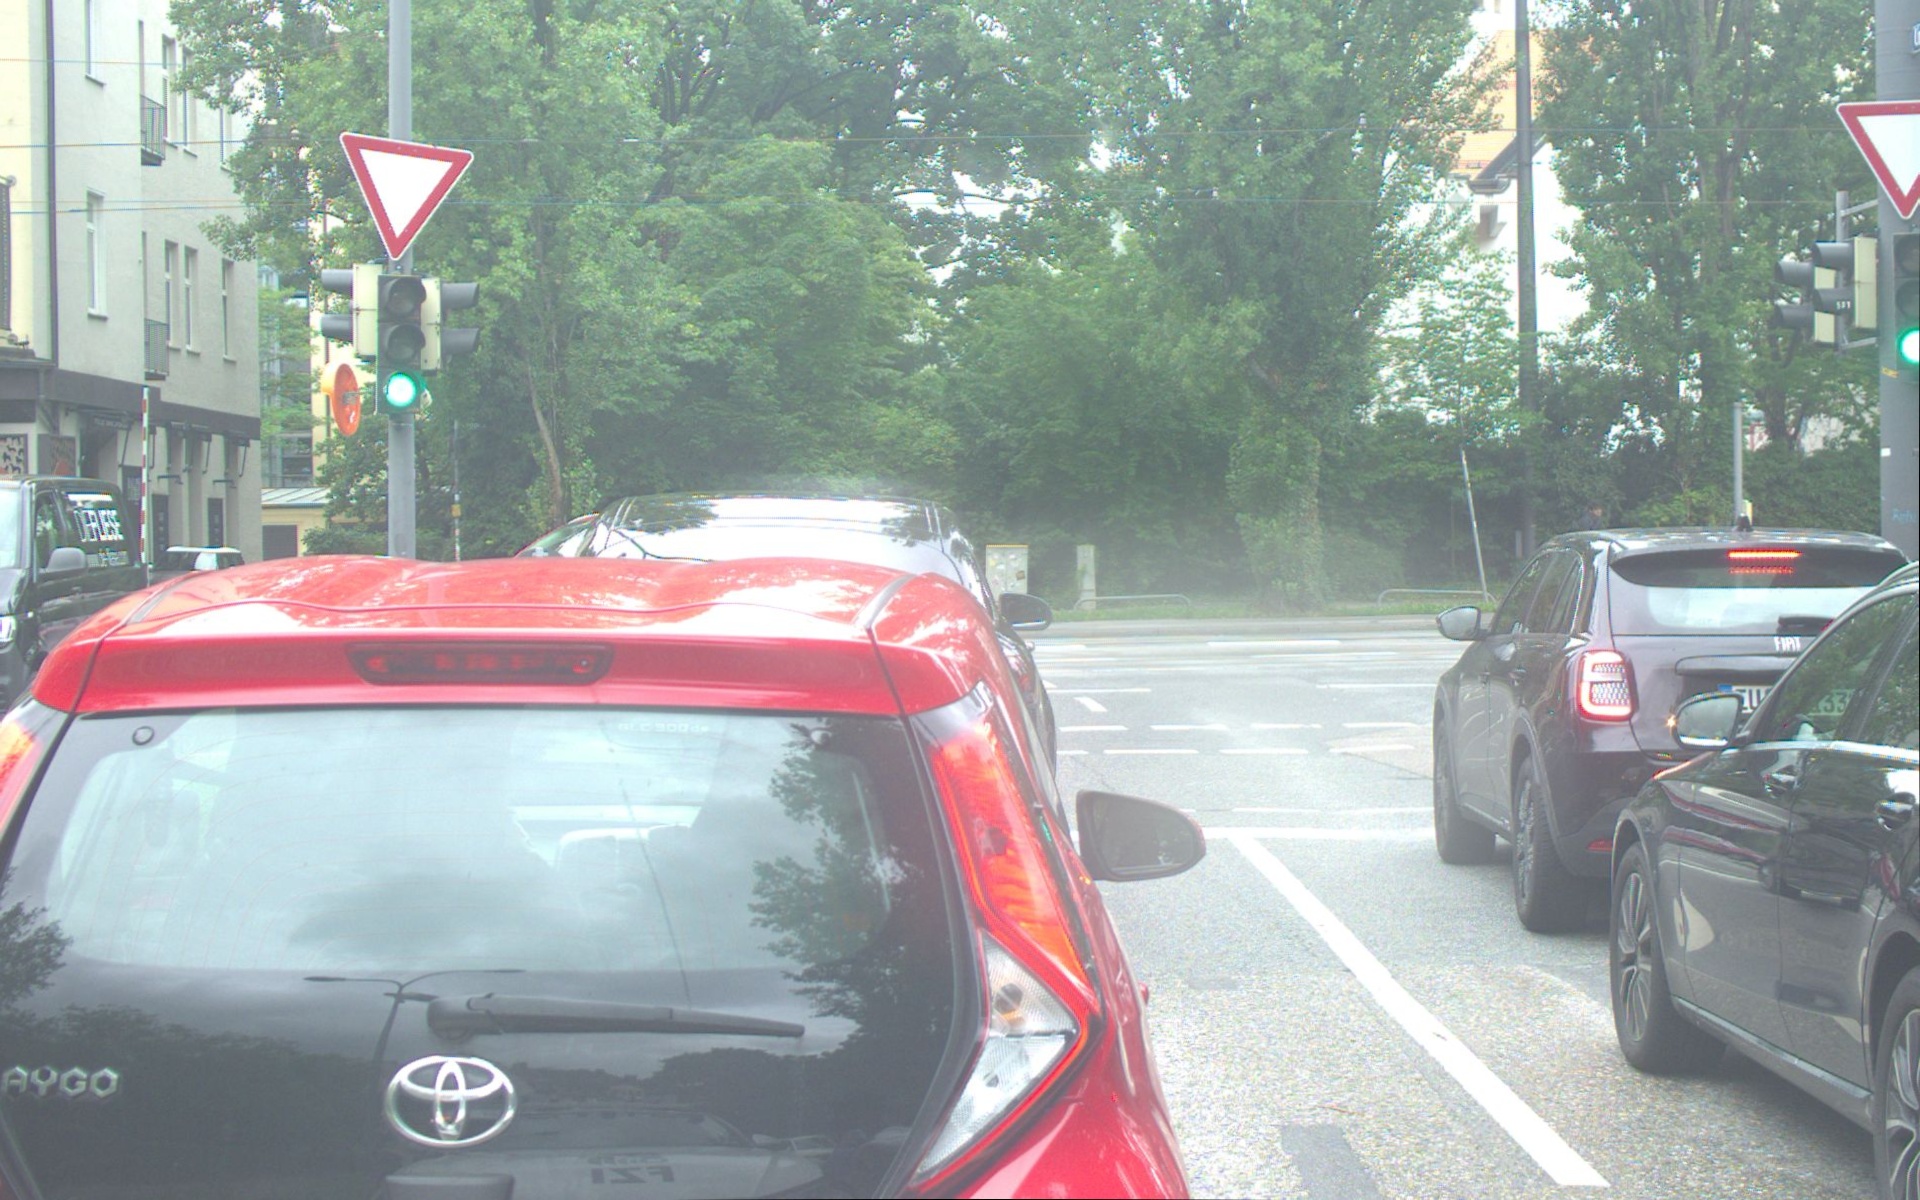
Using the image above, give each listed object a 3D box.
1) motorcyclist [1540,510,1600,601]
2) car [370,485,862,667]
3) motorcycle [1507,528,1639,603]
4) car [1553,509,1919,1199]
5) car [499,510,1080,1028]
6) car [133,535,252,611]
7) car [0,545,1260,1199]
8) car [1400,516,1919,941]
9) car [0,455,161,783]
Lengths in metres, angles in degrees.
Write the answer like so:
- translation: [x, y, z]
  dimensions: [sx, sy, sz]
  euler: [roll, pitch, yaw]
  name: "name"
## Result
- translation: [9.766, -0.704, 55.073]
  dimensions: [0.879, 1.438, 0.620]
  euler: [1, 0, 5]
  name: "motorcyclist"
- translation: [-3.484, -0.300, 35.656]
  dimensions: [2.108, 1.632, 4.928]
  euler: [1, 3, 41]
  name: "car"
- translation: [9.815, -0.553, 55.069]
  dimensions: [2.023, 1.165, 0.630]
  euler: [1, 0, 5]
  name: "motorcycle"
- translation: [2.735, 0.582, 7.954]
  dimensions: [1.863, 1.544, 4.704]
  euler: [1, 1, 0]
  name: "car"
- translation: [-0.489, 0.460, 12.695]
  dimensions: [1.736, 1.544, 4.576]
  euler: [-1, 1, 1]
  name: "car"
- translation: [-15.416, -0.563, 69.220]
  dimensions: [1.725, 1.437, 4.001]
  euler: [-1, 1, -4]
  name: "car"
- translation: [-0.503, 0.662, 5.028]
  dimensions: [1.628, 1.435, 3.377]
  euler: [-1, 1, 1]
  name: "car"
- translation: [2.957, 0.423, 14.164]
  dimensions: [1.781, 1.481, 4.000]
  euler: [-1, 1, 0]
  name: "car"
- translation: [-6.772, 0.079, 23.119]
  dimensions: [1.857, 1.984, 4.705]
  euler: [-1, 1, -2]
  name: "car"
